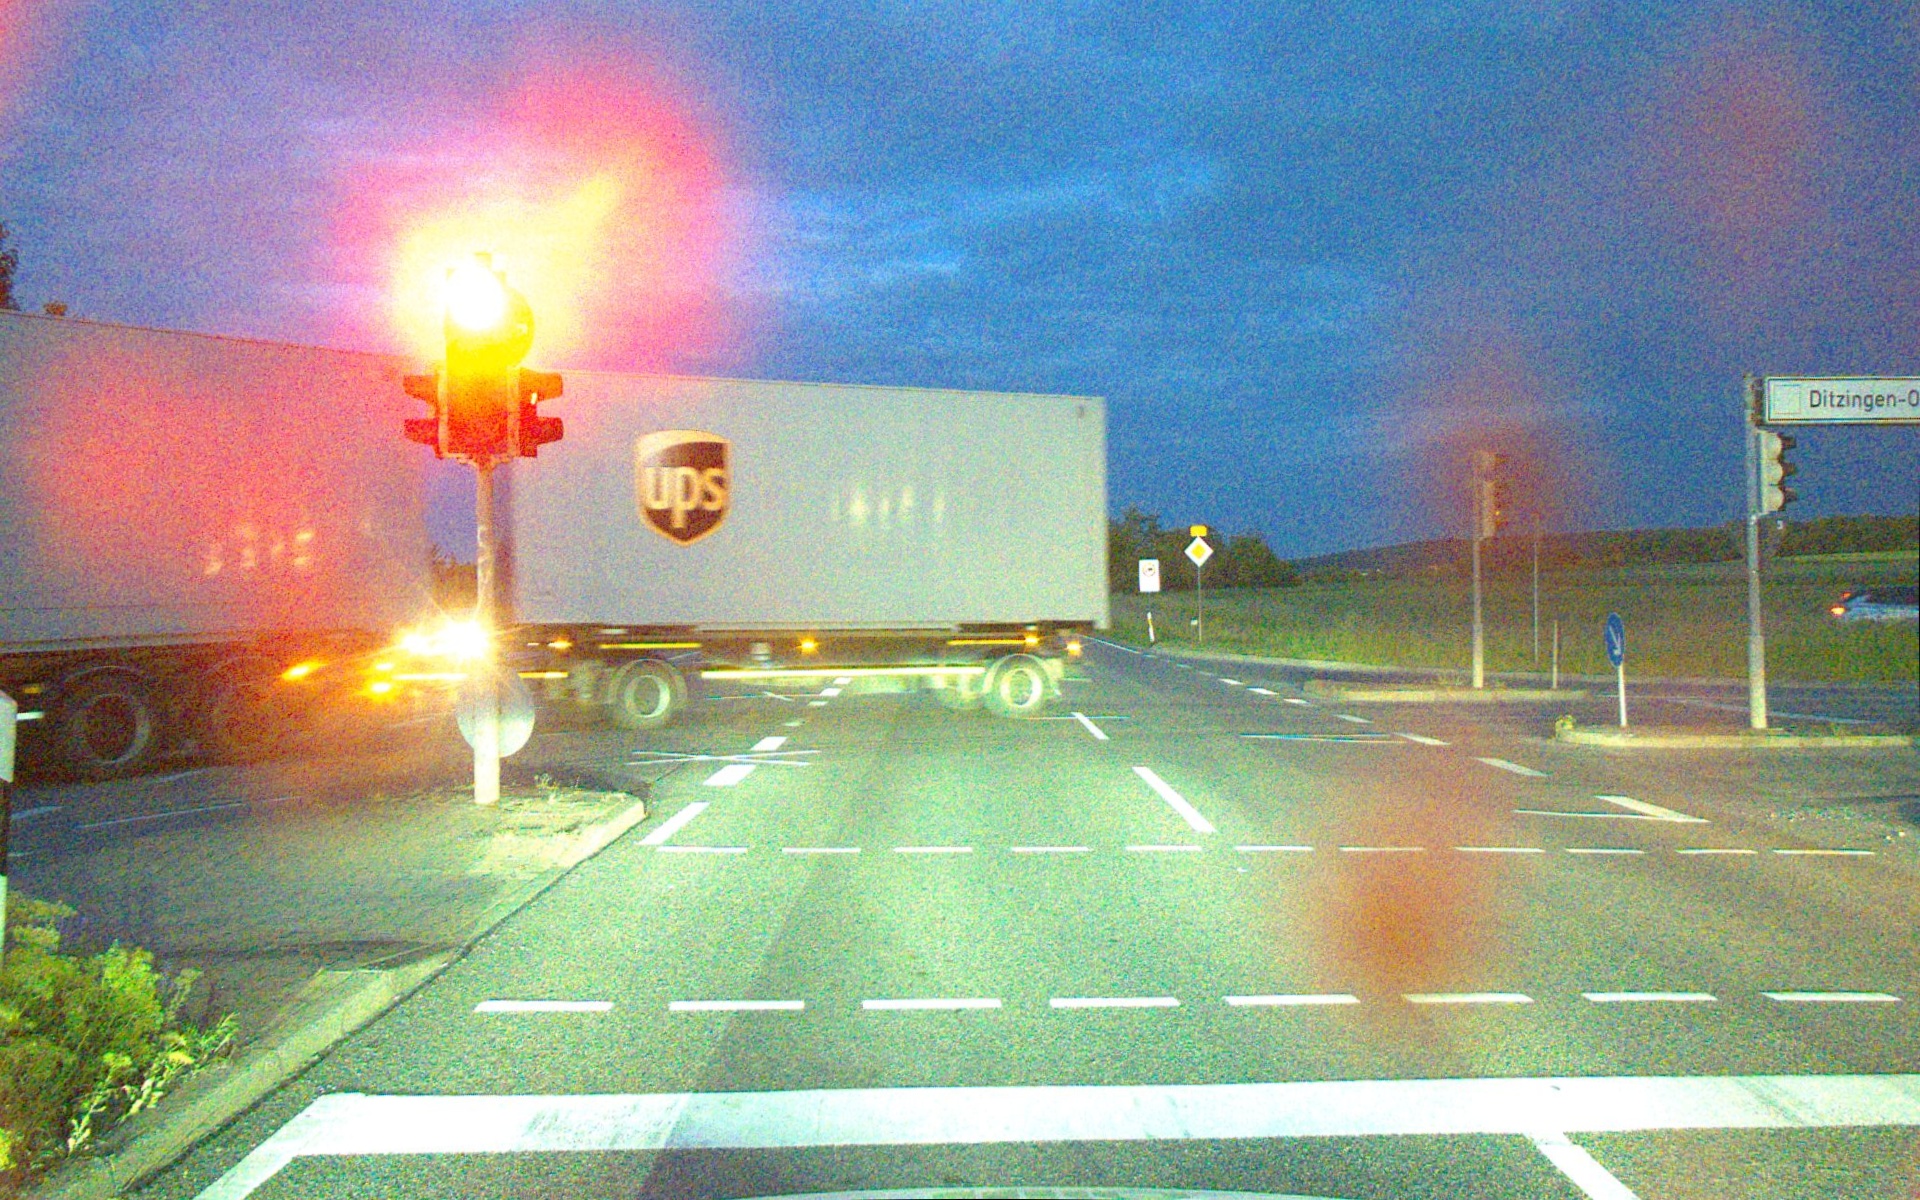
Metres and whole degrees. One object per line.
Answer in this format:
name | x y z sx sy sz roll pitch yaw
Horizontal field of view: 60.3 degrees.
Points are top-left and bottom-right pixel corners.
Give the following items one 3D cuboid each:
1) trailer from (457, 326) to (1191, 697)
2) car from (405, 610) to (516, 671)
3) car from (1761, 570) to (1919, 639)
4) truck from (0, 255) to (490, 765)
trailer | -1.623 -1.072 20.641 8.720 4.012 2.569 -2 0 -21
car | -12.452 0.976 41.446 1.618 1.408 4.029 1 0 -1
car | 23.168 0.104 42.519 4.385 1.693 1.994 -1 0 34
truck | -9.032 -0.734 14.248 2.678 4.189 10.312 -1 0 34
